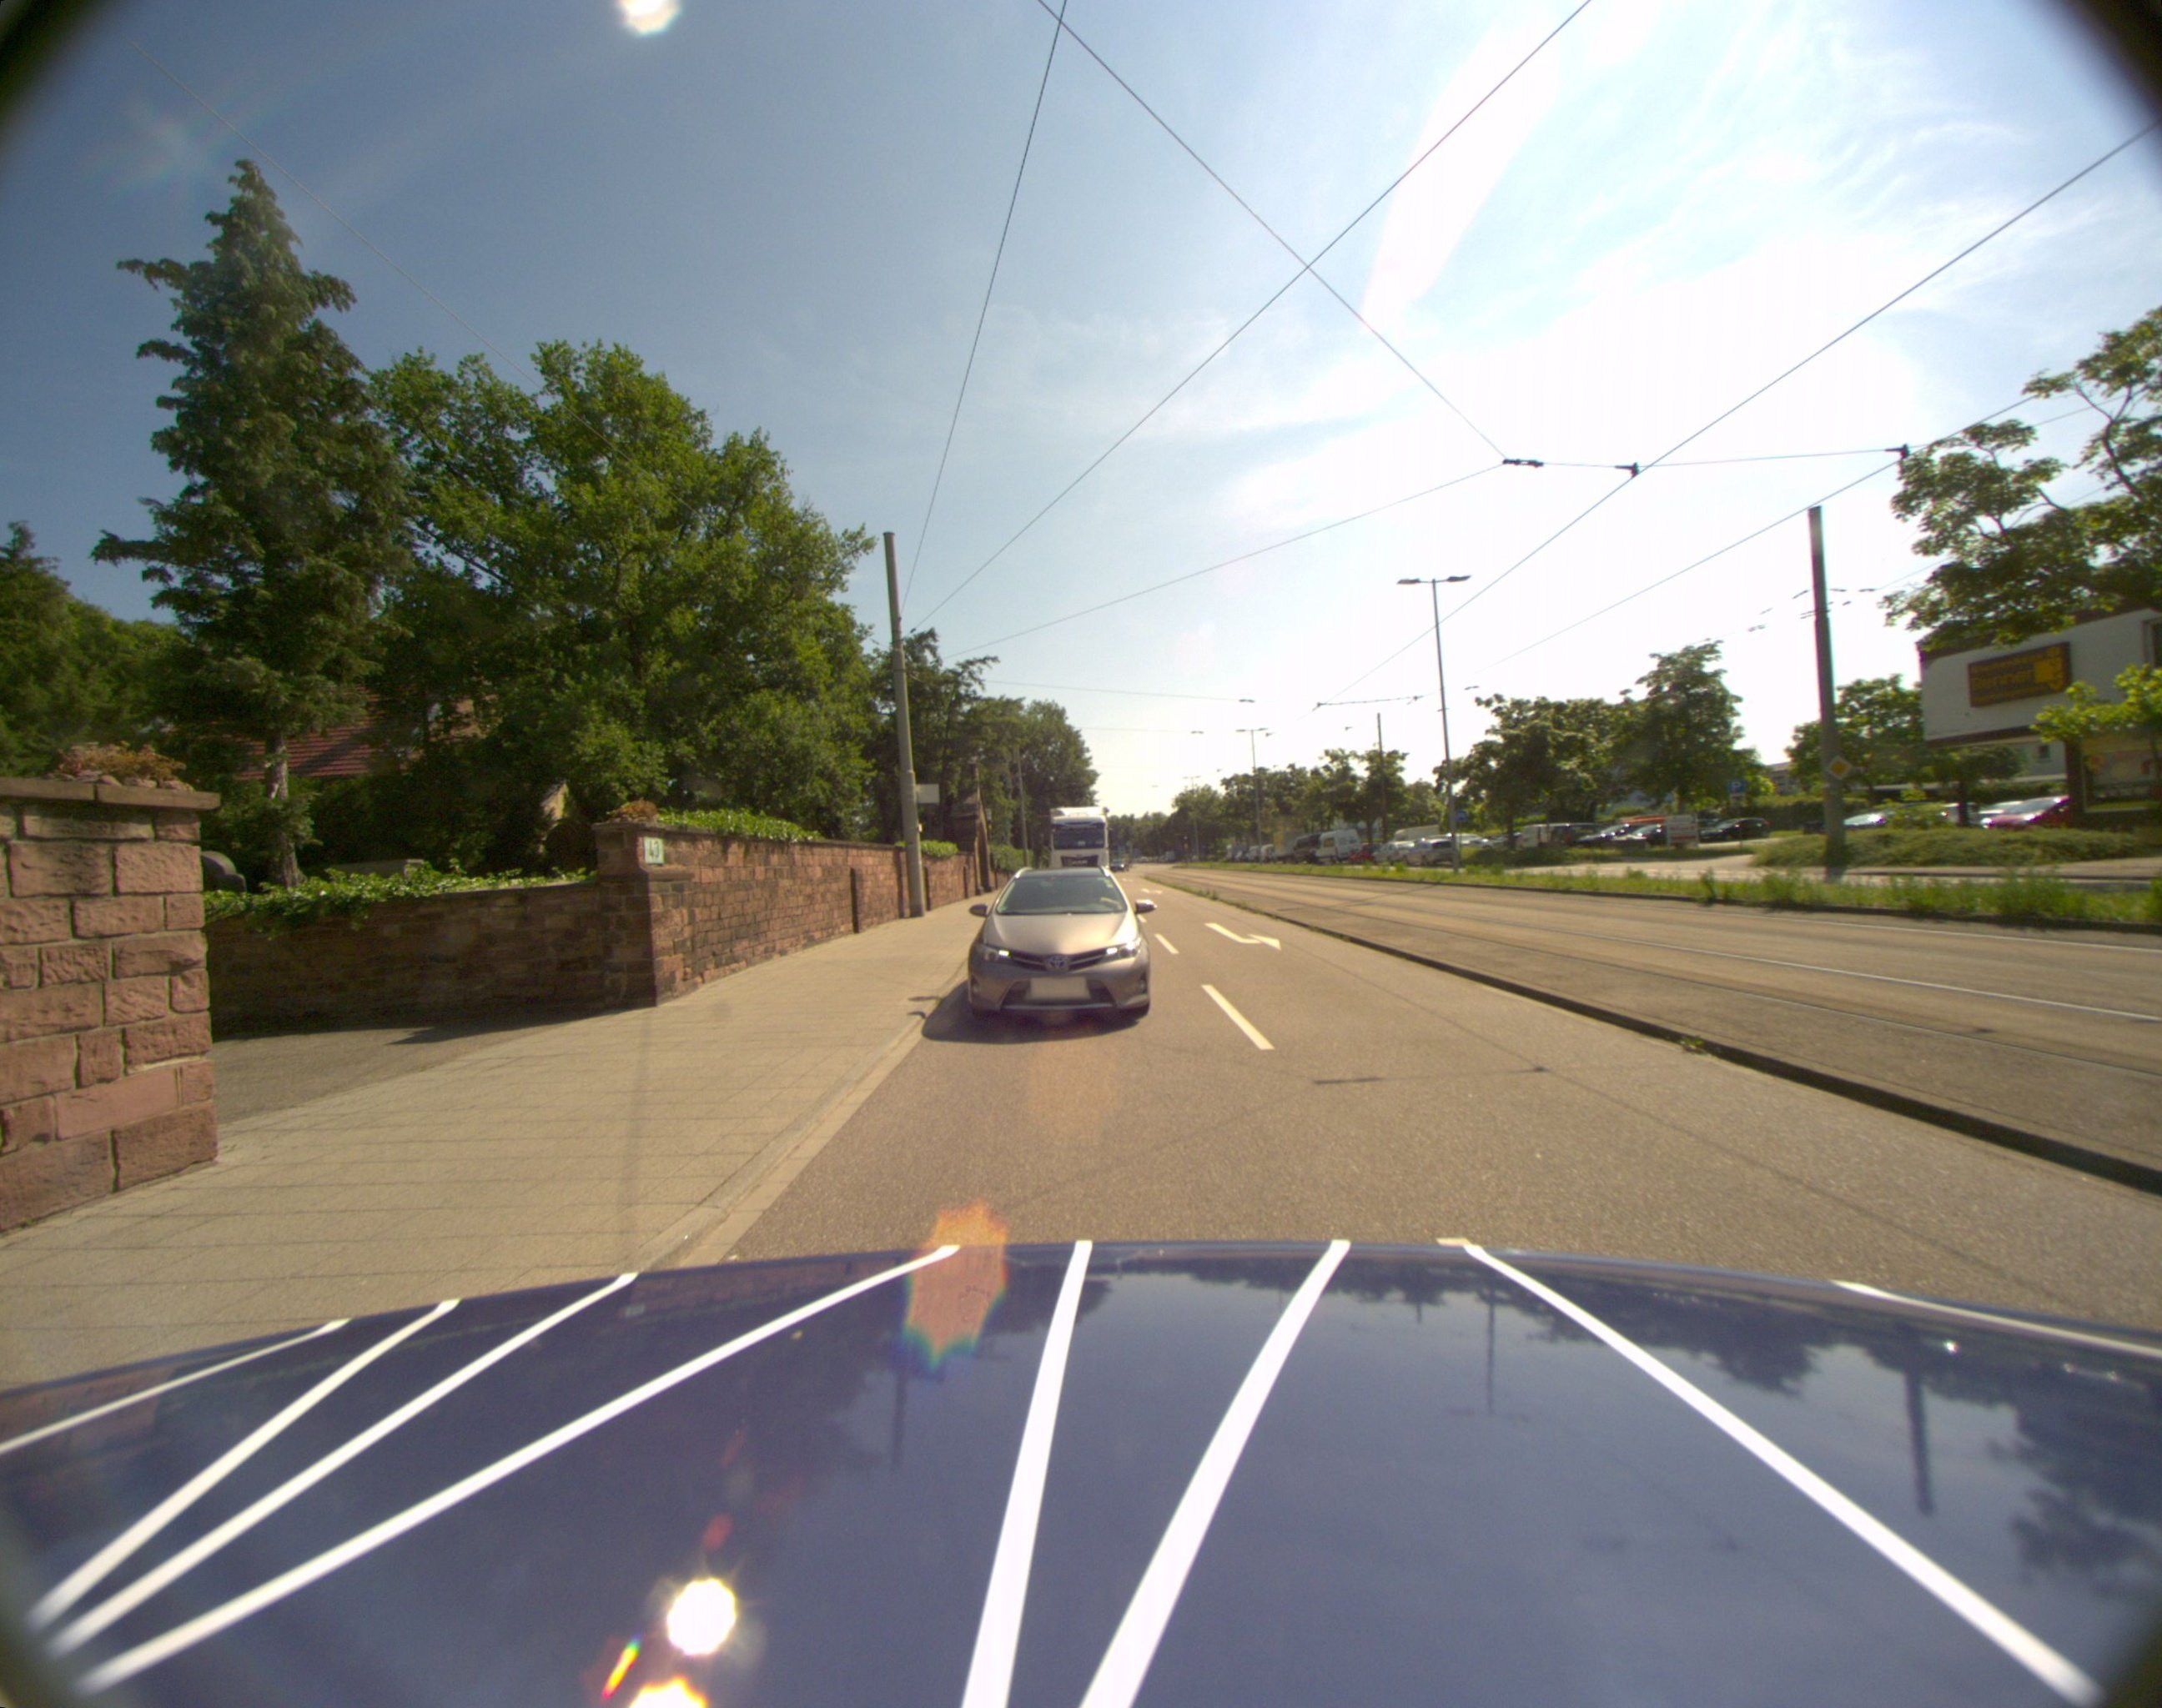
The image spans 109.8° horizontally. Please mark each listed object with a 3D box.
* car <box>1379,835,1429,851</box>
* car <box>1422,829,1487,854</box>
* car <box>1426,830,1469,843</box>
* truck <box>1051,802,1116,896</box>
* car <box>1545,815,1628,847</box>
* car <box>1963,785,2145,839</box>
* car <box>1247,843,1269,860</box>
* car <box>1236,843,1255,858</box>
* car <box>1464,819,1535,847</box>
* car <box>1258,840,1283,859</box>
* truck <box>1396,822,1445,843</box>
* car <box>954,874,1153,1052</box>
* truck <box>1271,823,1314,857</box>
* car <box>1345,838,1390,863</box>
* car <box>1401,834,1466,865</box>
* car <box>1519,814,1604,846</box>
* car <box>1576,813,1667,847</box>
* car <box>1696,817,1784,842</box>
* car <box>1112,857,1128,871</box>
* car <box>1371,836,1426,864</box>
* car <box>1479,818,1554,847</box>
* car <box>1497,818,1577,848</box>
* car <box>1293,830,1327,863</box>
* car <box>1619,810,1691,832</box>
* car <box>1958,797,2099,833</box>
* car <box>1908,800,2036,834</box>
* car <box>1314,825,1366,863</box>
[{"bbox_3d":[32.395,-1.125,76.274,4.253,1.327,1.676,-4,0,2],"label":"car"},{"bbox_3d":[31.226,-1.019,63.757,2.594,1.800,5.741,-4,0,2],"label":"car"},{"bbox_3d":[43.835,-2.101,90.866,4.253,1.327,1.676,-4,0,2],"label":"car"},{"bbox_3d":[0.214,-0.227,36.748,2.628,3.905,9.286,-2,0,1],"label":"truck"},{"bbox_3d":[30.610,-1.365,46.081,3.810,1.625,1.676,-4,0,3],"label":"car"},{"bbox_3d":[35.216,-1.482,27.580,4.252,1.595,1.676,-4,0,3],"label":"car"},{"bbox_3d":[21.005,-0.284,90.165,1.502,1.835,4.059,-7,0,0],"label":"car"},{"bbox_3d":[20.740,-0.422,95.969,1.502,1.775,3.687,-7,0,0],"label":"car"},{"bbox_3d":[31.272,-1.556,56.857,4.117,1.727,1.990,-4,0,-2],"label":"car"},{"bbox_3d":[20.749,-0.476,83.216,1.502,1.793,4.633,-7,0,1],"label":"car"},{"bbox_3d":[45.052,-2.796,100.887,5.652,2.367,1.990,-4,0,-2],"label":"truck"},{"bbox_3d":[-0.213,0.991,8.527,1.654,1.374,4.000,-2,0,1],"label":"car"},{"bbox_3d":[20.653,-1.290,74.542,2.508,2.917,5.903,-7,0,2],"label":"truck"},{"bbox_3d":[20.470,-0.260,54.401,1.675,1.524,3.793,-7,0,1],"label":"car"},{"bbox_3d":[20.301,-0.231,43.915,1.675,1.524,4.257,-7,0,1],"label":"car"},{"bbox_3d":[30.678,-1.520,48.547,4.117,1.727,1.990,-4,0,-2],"label":"car"},{"bbox_3d":[30.533,-1.348,42.994,3.810,1.625,1.676,-4,0,3],"label":"car"},{"bbox_3d":[43.755,-1.604,50.498,4.252,1.327,1.676,-4,0,3],"label":"car"},{"bbox_3d":[4.324,1.095,84.759,1.654,1.374,4.000,-2,0,1],"label":"car"},{"bbox_3d":[20.500,-0.254,49.256,1.675,1.524,4.257,-7,0,1],"label":"car"},{"bbox_3d":[30.620,-1.516,53.525,4.117,1.727,1.990,-4,0,-2],"label":"car"},{"bbox_3d":[30.566,-1.392,51.019,4.117,1.727,1.990,-4,0,-2],"label":"car"},{"bbox_3d":[19.870,-0.652,66.107,1.502,2.609,4.007,-7,0,1],"label":"car"},{"bbox_3d":[44.050,-2.531,58.379,4.253,1.327,1.676,-4,0,-1],"label":"car"},{"bbox_3d":[43.799,-1.783,35.201,4.252,1.327,1.676,-4,0,3],"label":"car"},{"bbox_3d":[44.555,-1.817,38.063,4.252,1.327,1.676,-4,0,3],"label":"car"},{"bbox_3d":[20.280,-0.755,59.713,2.062,2.638,5.203,-7,0,1],"label":"car"}]
